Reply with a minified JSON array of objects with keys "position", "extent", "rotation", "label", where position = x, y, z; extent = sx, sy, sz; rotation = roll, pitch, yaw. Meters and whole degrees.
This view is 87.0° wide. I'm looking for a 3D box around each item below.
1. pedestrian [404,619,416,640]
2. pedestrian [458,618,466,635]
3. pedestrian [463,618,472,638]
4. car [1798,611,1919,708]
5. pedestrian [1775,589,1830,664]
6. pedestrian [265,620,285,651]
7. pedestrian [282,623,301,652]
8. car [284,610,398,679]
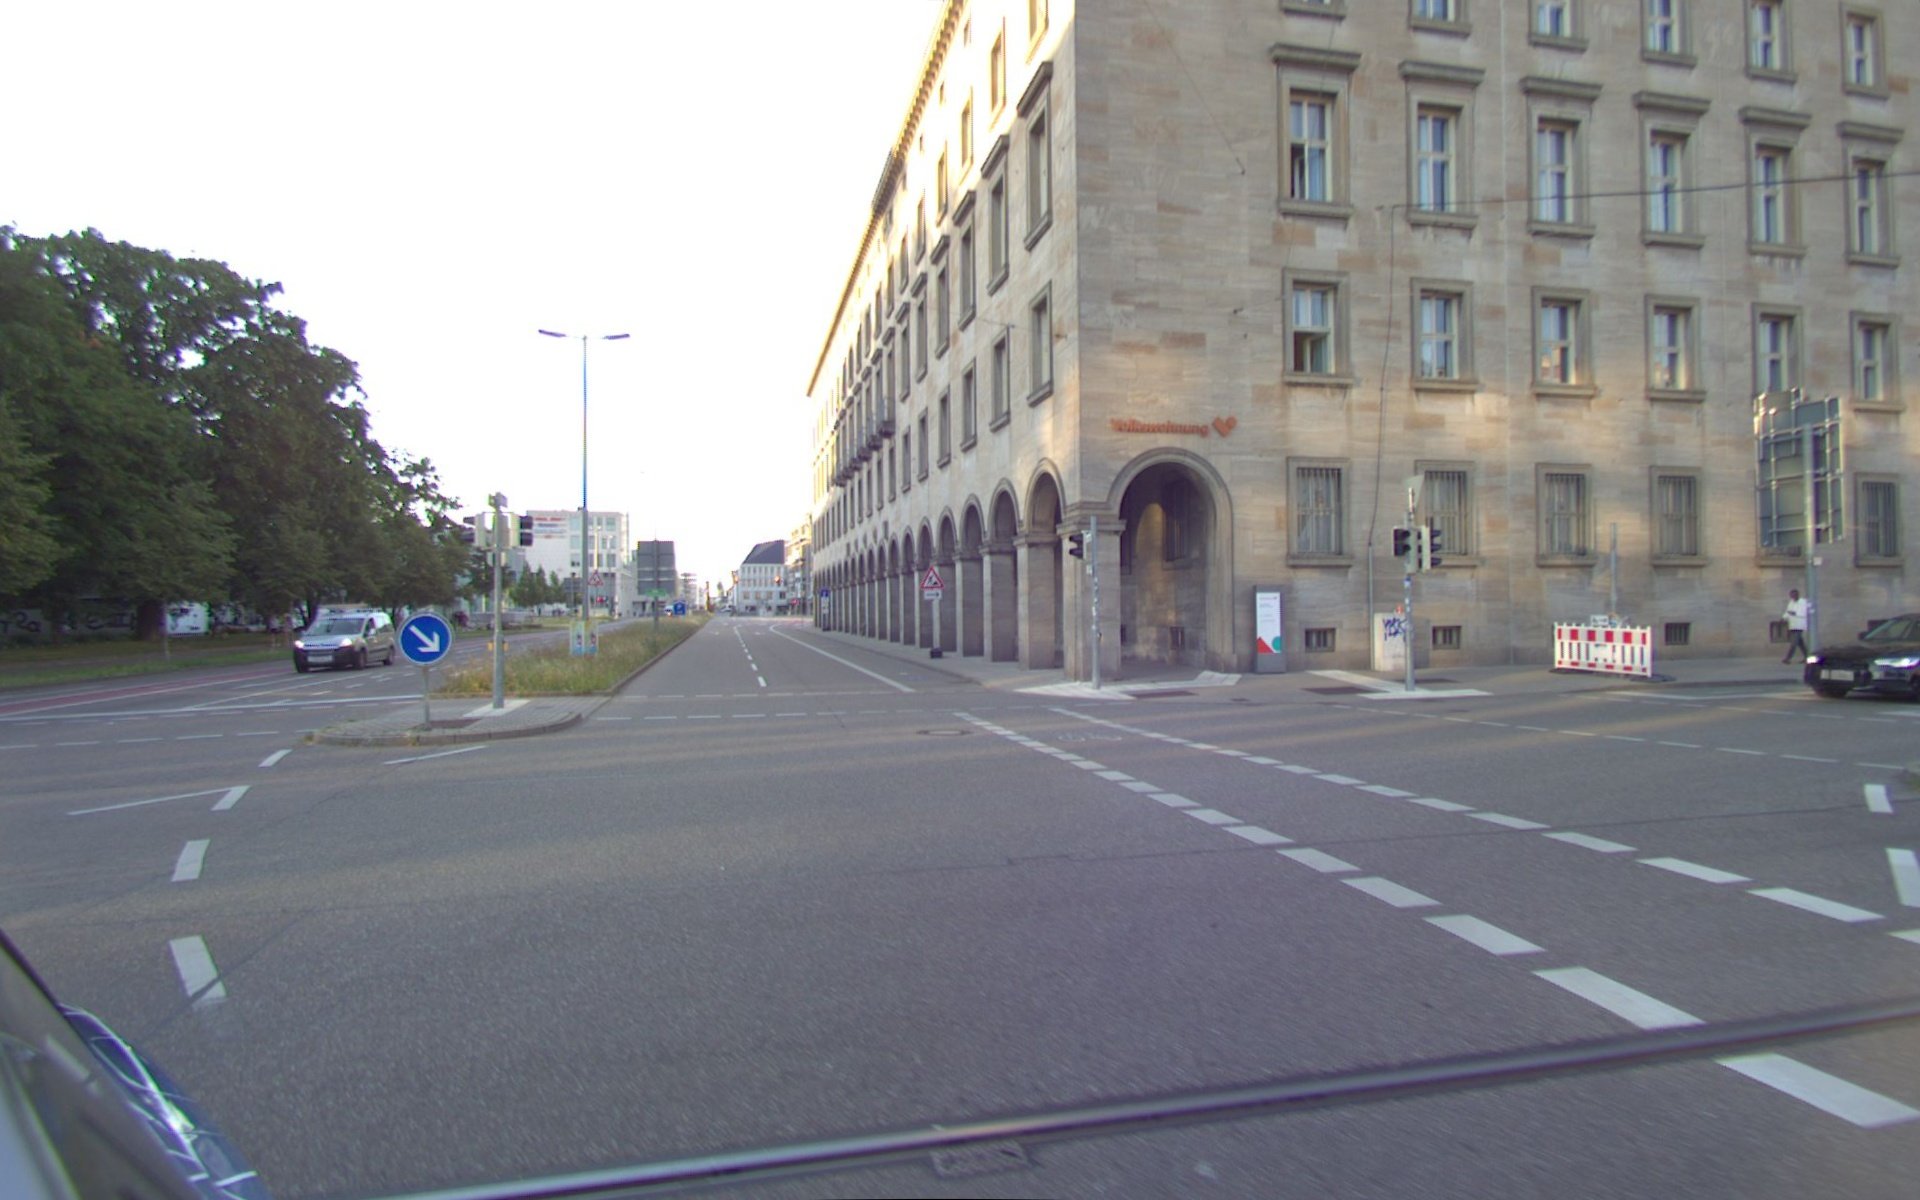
[{"position":[-39.496,2.141,72.711],"extent":[0.622,1.474,0.647],"rotation":[0,-1,-11],"label":"pedestrian"},{"position":[-41.389,2.232,84.106],"extent":[0.621,1.406,0.648],"rotation":[0,-1,-26],"label":"pedestrian"},{"position":[-42.401,2.382,87.121],"extent":[0.621,1.678,0.648],"rotation":[-1,-1,-26],"label":"pedestrian"},{"position":[16.297,0.911,16.658],"extent":[4.161,1.438,1.652],"rotation":[-1,-1,-13],"label":"car"},{"position":[19.890,0.619,23.902],"extent":[0.635,1.723,0.699],"rotation":[-1,-1,-10],"label":"pedestrian"},{"position":[-36.087,1.879,53.294],"extent":[0.635,1.606,0.679],"rotation":[-1,0,-10],"label":"pedestrian"},{"position":[-35.325,1.954,53.479],"extent":[0.666,1.508,0.647],"rotation":[0,-1,-12],"label":"pedestrian"},{"position":[-19.003,1.307,31.271],"extent":[1.775,1.926,4.477],"rotation":[-1,-1,-15],"label":"car"}]
